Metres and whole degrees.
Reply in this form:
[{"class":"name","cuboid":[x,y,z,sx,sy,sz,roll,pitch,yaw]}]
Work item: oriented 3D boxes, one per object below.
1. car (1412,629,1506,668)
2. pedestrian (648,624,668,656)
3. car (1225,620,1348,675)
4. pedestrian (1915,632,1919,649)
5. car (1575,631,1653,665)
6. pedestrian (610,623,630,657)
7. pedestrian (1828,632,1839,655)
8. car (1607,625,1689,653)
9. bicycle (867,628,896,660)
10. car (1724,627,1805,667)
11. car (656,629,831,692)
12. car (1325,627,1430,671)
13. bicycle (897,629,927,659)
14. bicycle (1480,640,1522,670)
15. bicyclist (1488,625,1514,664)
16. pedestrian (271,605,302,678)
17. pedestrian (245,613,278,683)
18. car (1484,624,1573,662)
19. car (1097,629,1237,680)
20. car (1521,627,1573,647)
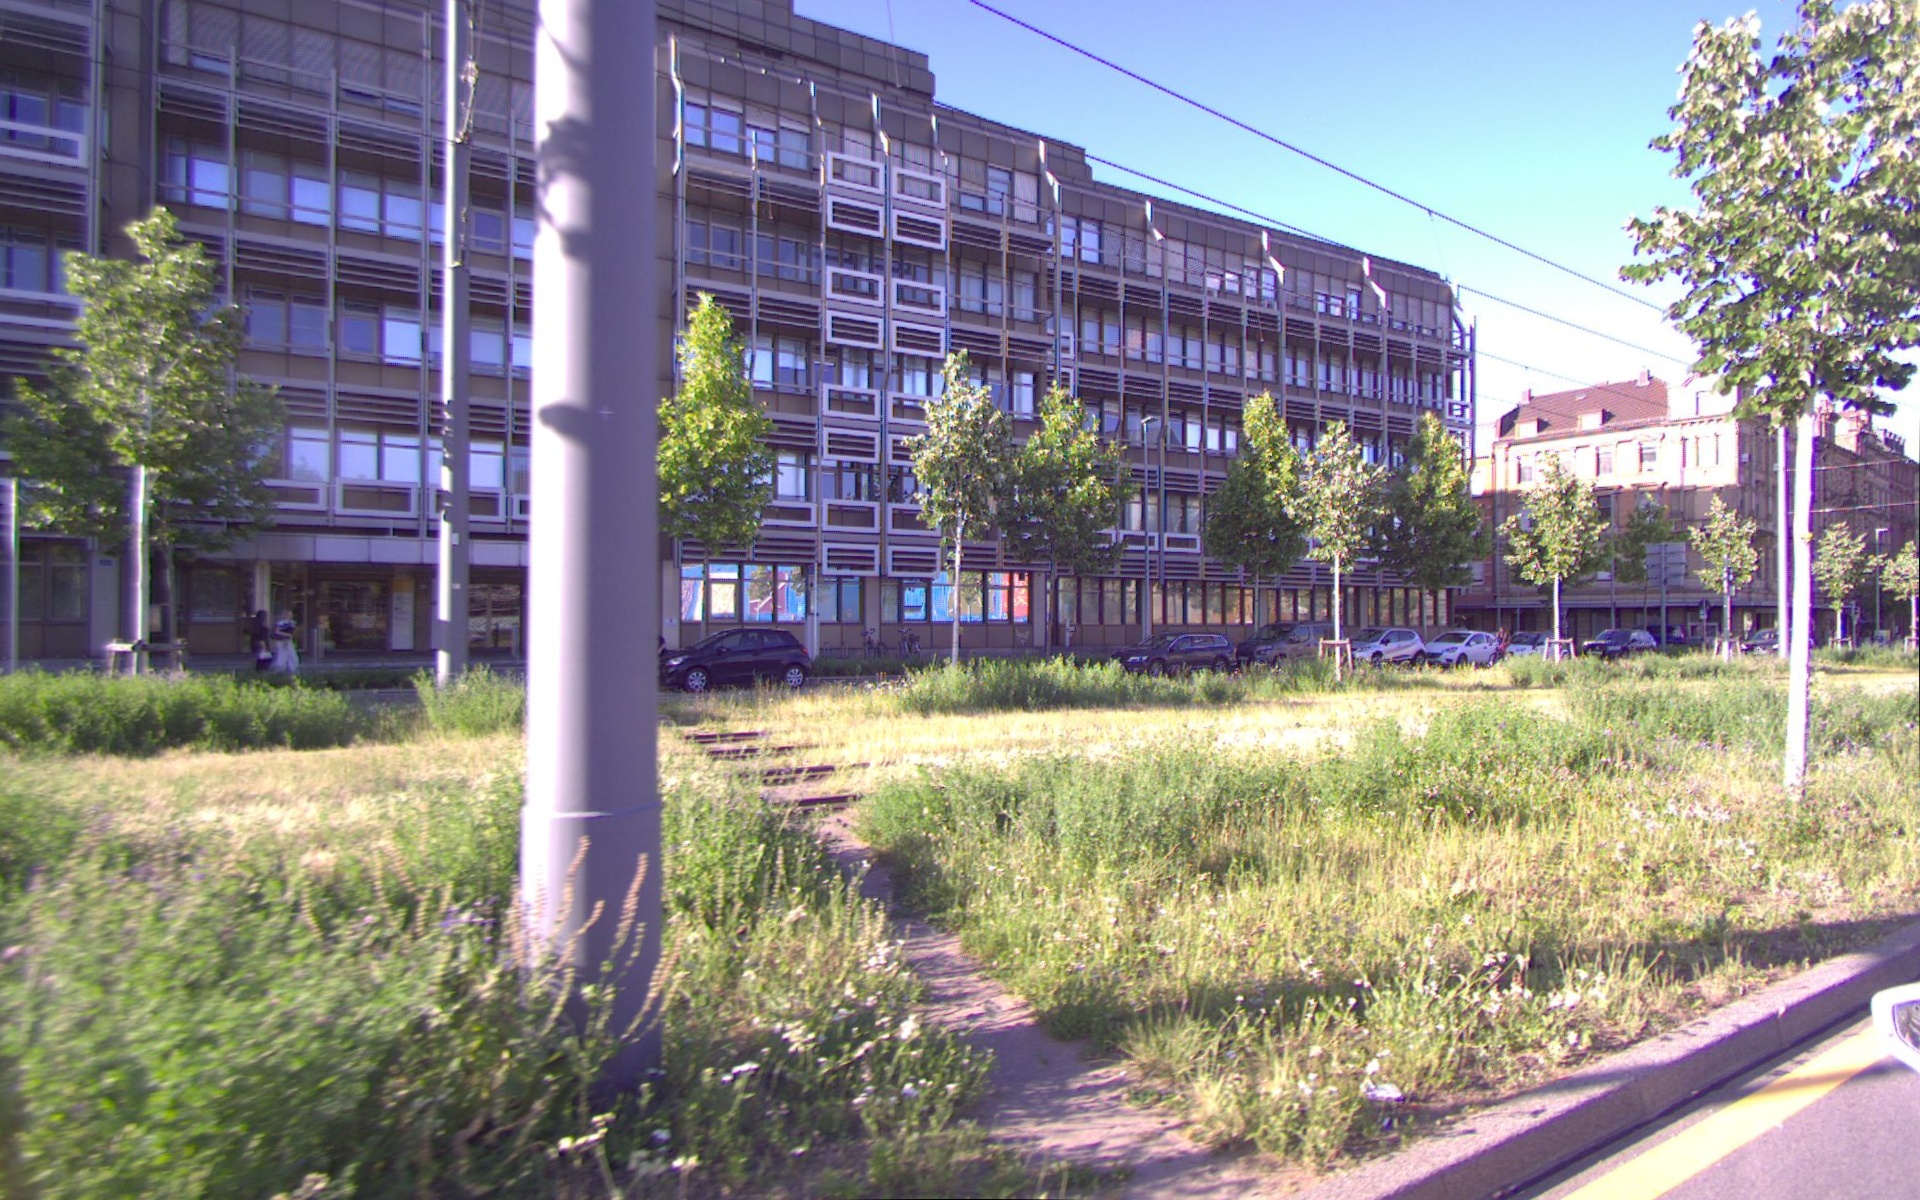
[{"class":"car","cuboid":[20.238,1.959,40.743,3.774,1.460,1.617,1,0,-30]},{"class":"pedestrian","cuboid":[-9.340,1.237,31.071,0.492,0.999,0.615,1,-2,-27]},{"class":"car","cuboid":[11.520,1.618,35.380,4.280,1.795,1.742,1,0,-30]},{"class":"pedestrian","cuboid":[93.706,3.955,98.146,0.422,1.606,0.400,1,1,-38]},{"class":"car","cuboid":[31.560,2.277,48.466,3.858,1.481,1.720,1,1,-33]},{"class":"pedestrian","cuboid":[-10.318,1.210,30.508,0.492,0.999,0.615,1,-2,-27]},{"class":"pedestrian","cuboid":[67.891,3.370,78.070,0.402,1.788,0.504,1,1,-37]},{"class":"car","cuboid":[48.532,2.724,70.937,1.884,1.928,4.469,1,-2,-41]},{"class":"bicycle","cuboid":[-2.787,1.557,35.742,0.419,1.086,1.869,1,-2,-24]},{"class":"car","cuboid":[37.429,2.172,46.717,4.076,1.770,1.718,1,-1,-32]},{"class":"car","cuboid":[-5.454,1.483,25.379,3.991,1.405,1.708,1,0,-30]},{"class":"car","cuboid":[15.827,1.828,38.047,3.838,1.556,1.729,1,0,-30]},{"class":"bicycle","cuboid":[-1.746,1.585,36.360,0.419,1.086,1.924,1,-2,-24]},{"class":"bicycle","cuboid":[20.470,2.060,38.009,1.751,1.111,0.562,1,-2,-32]},{"class":"bicyclist","cuboid":[20.485,1.679,38.025,0.698,1.476,0.562,1,-2,-31]},{"class":"pedestrian","cuboid":[-16.239,0.995,24.222,0.529,1.744,0.519,1,-2,-26]},{"class":"pedestrian","cuboid":[-16.132,1.107,23.206,0.529,1.599,0.519,1,-2,-26]},{"class":"car","cuboid":[24.883,1.855,43.962,3.919,1.574,1.641,1,-1,-30]},{"class":"car","cuboid":[6.734,1.705,32.511,4.453,1.489,1.720,1,0,-32]},{"class":"car","cuboid":[44.293,2.764,75.804,1.373,1.488,3.116,1,-2,-41]}]
